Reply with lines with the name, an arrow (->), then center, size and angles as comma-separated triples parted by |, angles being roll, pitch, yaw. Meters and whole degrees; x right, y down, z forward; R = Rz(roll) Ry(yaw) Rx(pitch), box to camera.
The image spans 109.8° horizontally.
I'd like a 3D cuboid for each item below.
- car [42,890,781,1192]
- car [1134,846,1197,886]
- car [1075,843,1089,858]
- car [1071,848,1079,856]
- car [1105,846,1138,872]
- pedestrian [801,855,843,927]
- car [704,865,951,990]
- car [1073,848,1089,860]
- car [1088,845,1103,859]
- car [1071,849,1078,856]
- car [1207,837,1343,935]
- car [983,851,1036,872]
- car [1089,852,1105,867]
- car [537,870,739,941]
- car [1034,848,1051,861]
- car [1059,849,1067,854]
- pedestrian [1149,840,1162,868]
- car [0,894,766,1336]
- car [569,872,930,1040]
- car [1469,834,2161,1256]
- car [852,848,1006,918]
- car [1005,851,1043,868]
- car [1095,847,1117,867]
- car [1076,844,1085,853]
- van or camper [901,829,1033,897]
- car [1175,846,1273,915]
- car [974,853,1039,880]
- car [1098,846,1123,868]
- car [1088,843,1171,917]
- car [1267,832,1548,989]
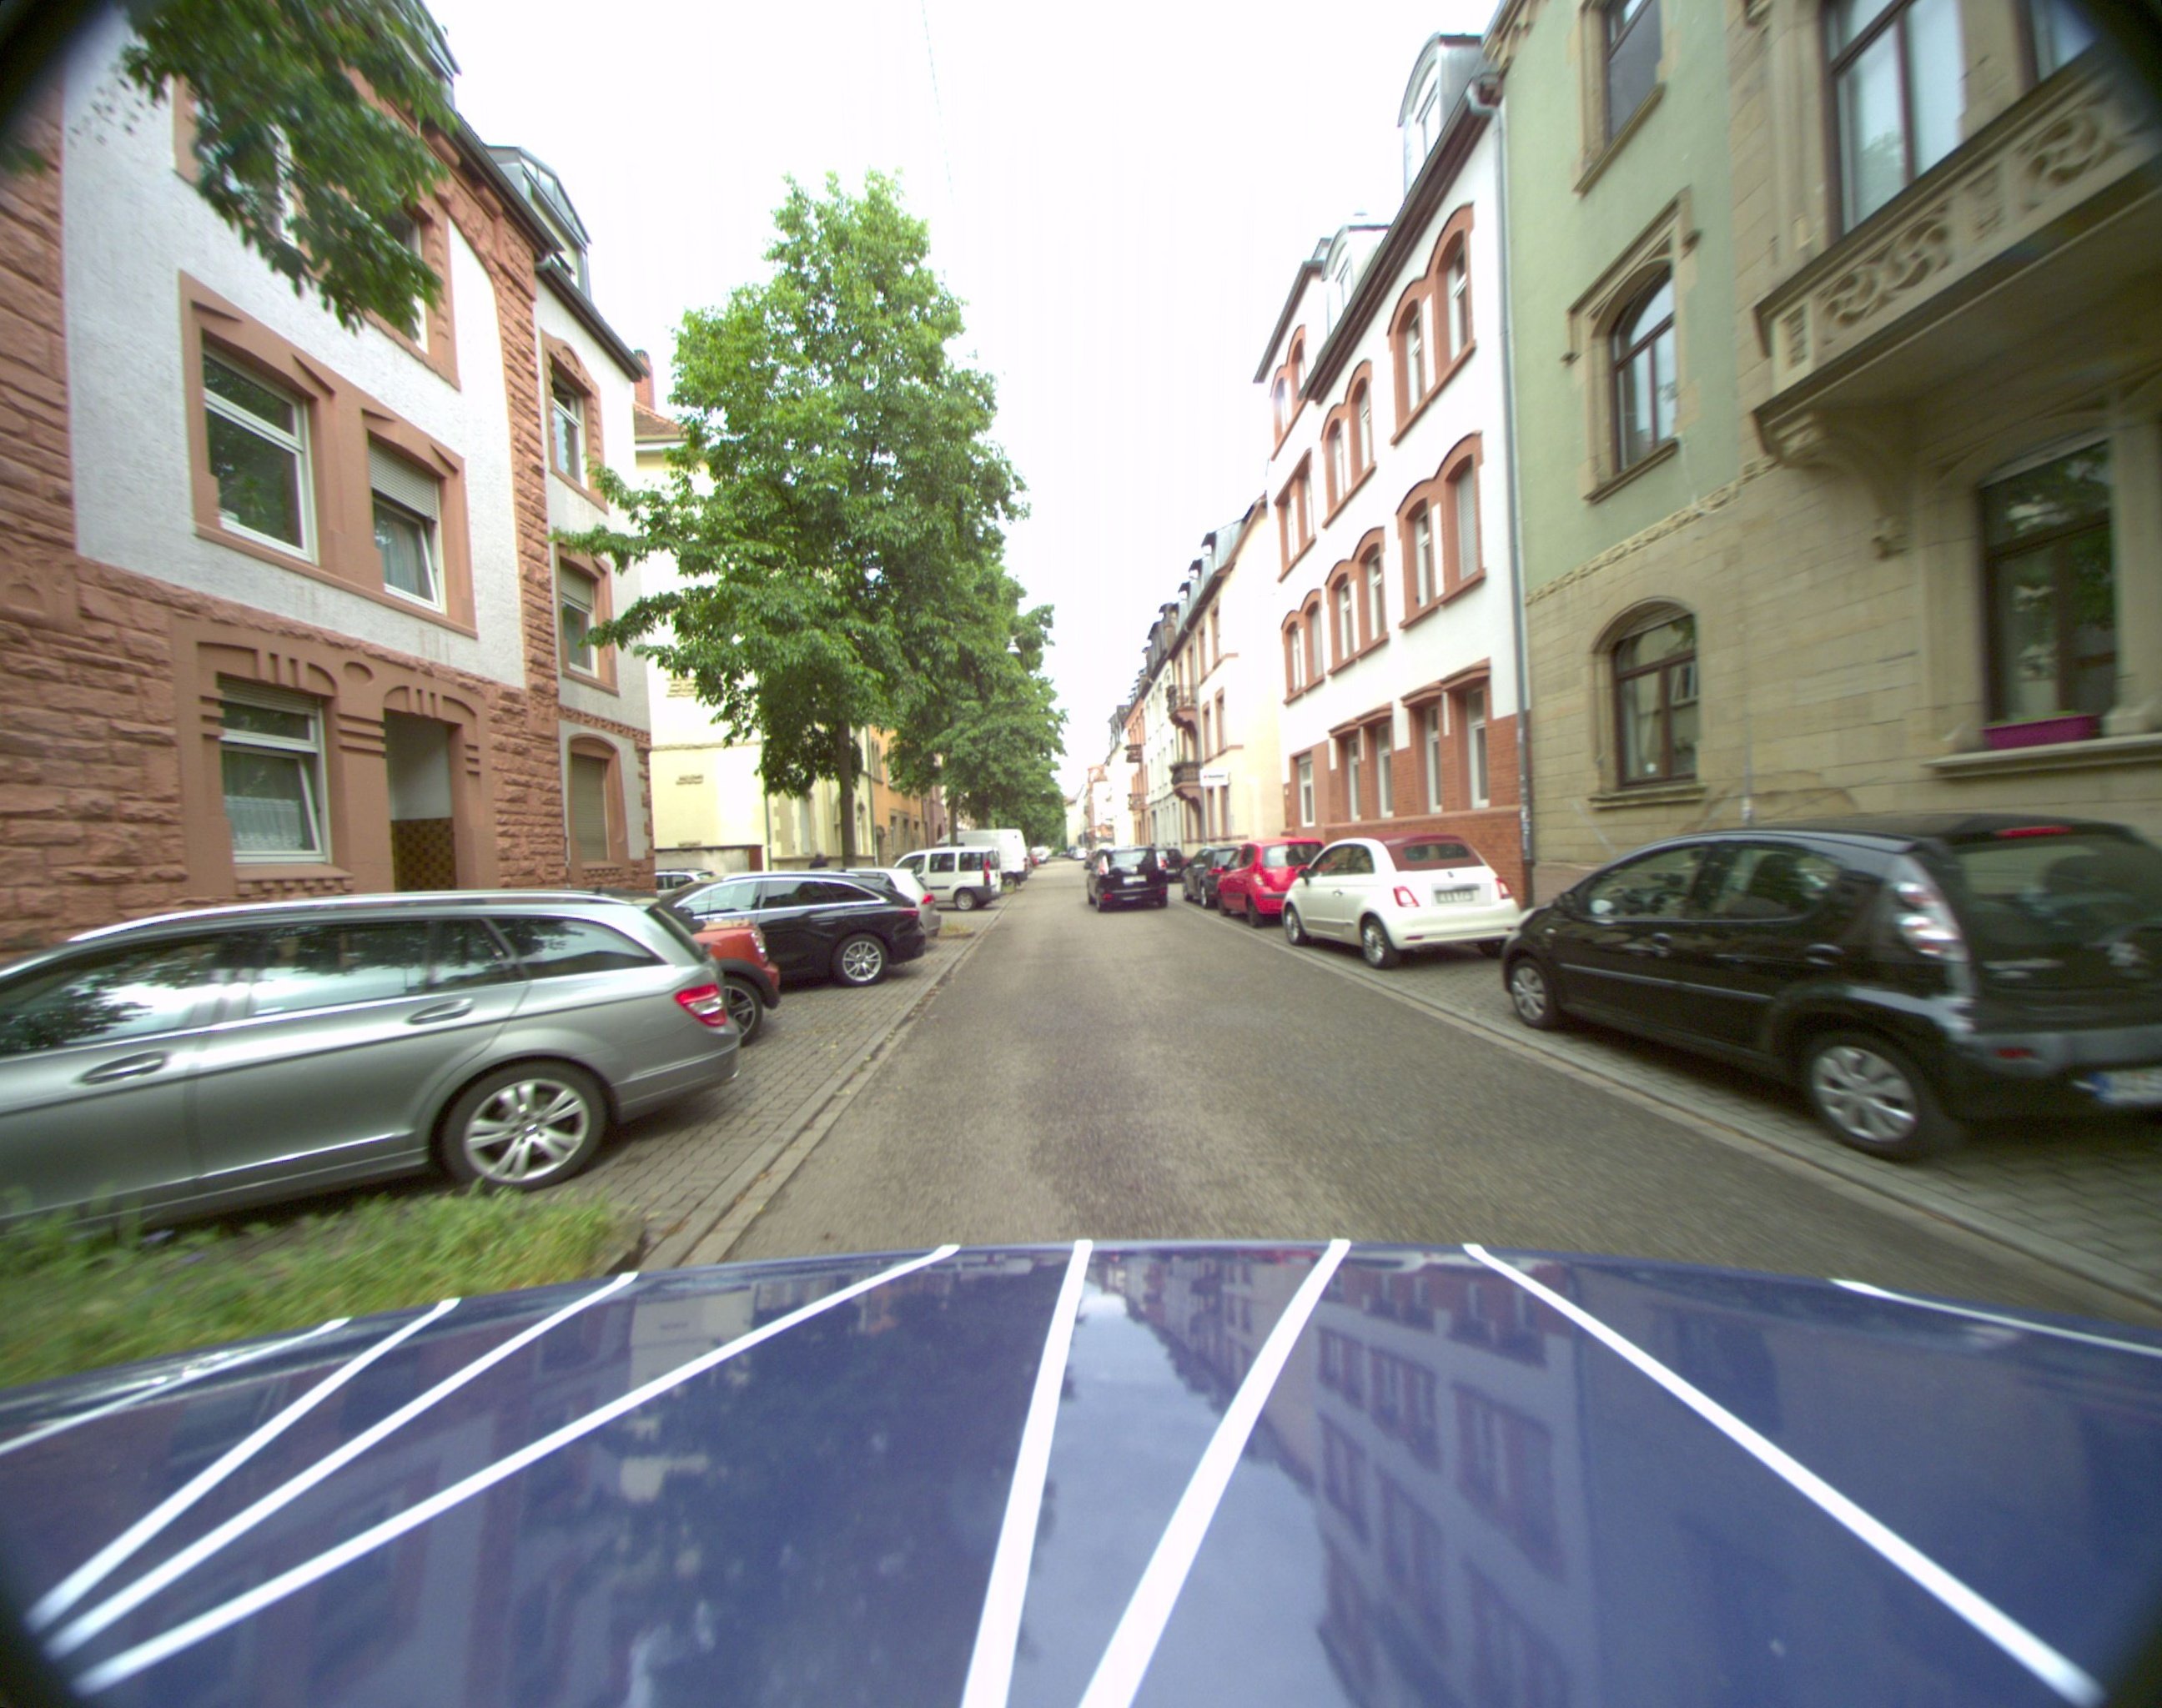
car -> -4.658, 1.147, 6.085 | 3.889, 1.427, 1.742 | -3, 0, -32
car -> 3.329, 0.449, 30.702 | 1.905, 1.382, 3.999 | -4, 1, -2
car -> 0.090, -0.551, 118.996 | 2.052, 2.071, 3.810 | -4, 0, -1
car -> -1.238, -0.404, 156.491 | 1.457, 1.401, 3.810 | -4, 0, -1
car -> 2.379, 0.267, 45.423 | 1.610, 1.463, 3.341 | -3, 1, -2
pedestrian -> -6.754, 0.939, 19.832 | 0.703, 1.801, 0.817 | -4, 1, -1
car -> -4.087, 1.066, 12.319 | 3.472, 1.554, 1.783 | -4, 1, -24
car -> -0.007, -0.024, 107.695 | 2.082, 1.447, 4.252 | -4, 0, -1
car -> 1.550, -0.226, 84.933 | 1.457, 1.401, 3.810 | -4, 0, -1
car -> -1.437, -0.398, 175.469 | 1.457, 1.401, 3.810 | -4, 0, -1
car -> 3.528, 0.533, 14.427 | 1.469, 1.521, 3.567 | -4, 0, -2
car -> -6.102, 0.645, 64.688 | 4.151, 1.490, 1.837 | -4, 1, -15
car -> 1.653, 0.536, 79.874 | 1.457, 1.401, 3.810 | -4, 0, -1
car -> -10.990, 1.260, 19.056 | 3.998, 1.445, 1.609 | -3, 1, -2
car -> -5.207, 0.047, 104.179 | 1.998, 1.740, 3.999 | -4, 1, 0
car -> -5.298, -0.837, 222.820 | 1.458, 1.401, 3.807 | -3, 1, -11
pedestrian -> 4.400, 0.019, 44.994 | 0.578, 1.600, 0.544 | -4, 1, -2
car -> -4.083, 1.039, 3.699 | 4.452, 1.419, 1.754 | -1, 1, -32
car -> -3.957, 1.059, 9.284 | 3.699, 1.458, 1.701 | -3, 1, -33
car -> 4.010, 0.679, 4.483 | 1.521, 1.426, 3.455 | -4, 0, -1
car -> -4.384, 0.820, 22.234 | 3.995, 1.801, 1.721 | -3, 1, 6
car -> -5.792, 0.587, 77.144 | 3.608, 1.458, 1.628 | -4, 1, -15
car -> 1.957, 0.203, 59.619 | 1.457, 1.401, 3.810 | -4, 0, -1
car -> -0.038, -0.963, 135.238 | 1.457, 1.401, 3.810 | -4, 0, -1
van or camper -> -4.846, 0.335, 32.553 | 5.077, 2.576, 2.069 | -3, 1, -32
car -> 3.380, 0.573, 18.665 | 1.469, 1.408, 3.917 | -4, 0, -2
car -> -4.637, 0.763, 47.411 | 3.611, 1.458, 1.626 | -4, 1, -33
car -> 2.085, 0.202, 54.038 | 1.457, 1.402, 3.040 | -4, 2, -2
car -> 1.162, 0.585, 20.027 | 1.814, 1.621, 4.206 | -3, 1, -1
car -> 3.826, 0.574, 9.621 | 1.671, 1.502, 3.552 | -4, 1, -6
